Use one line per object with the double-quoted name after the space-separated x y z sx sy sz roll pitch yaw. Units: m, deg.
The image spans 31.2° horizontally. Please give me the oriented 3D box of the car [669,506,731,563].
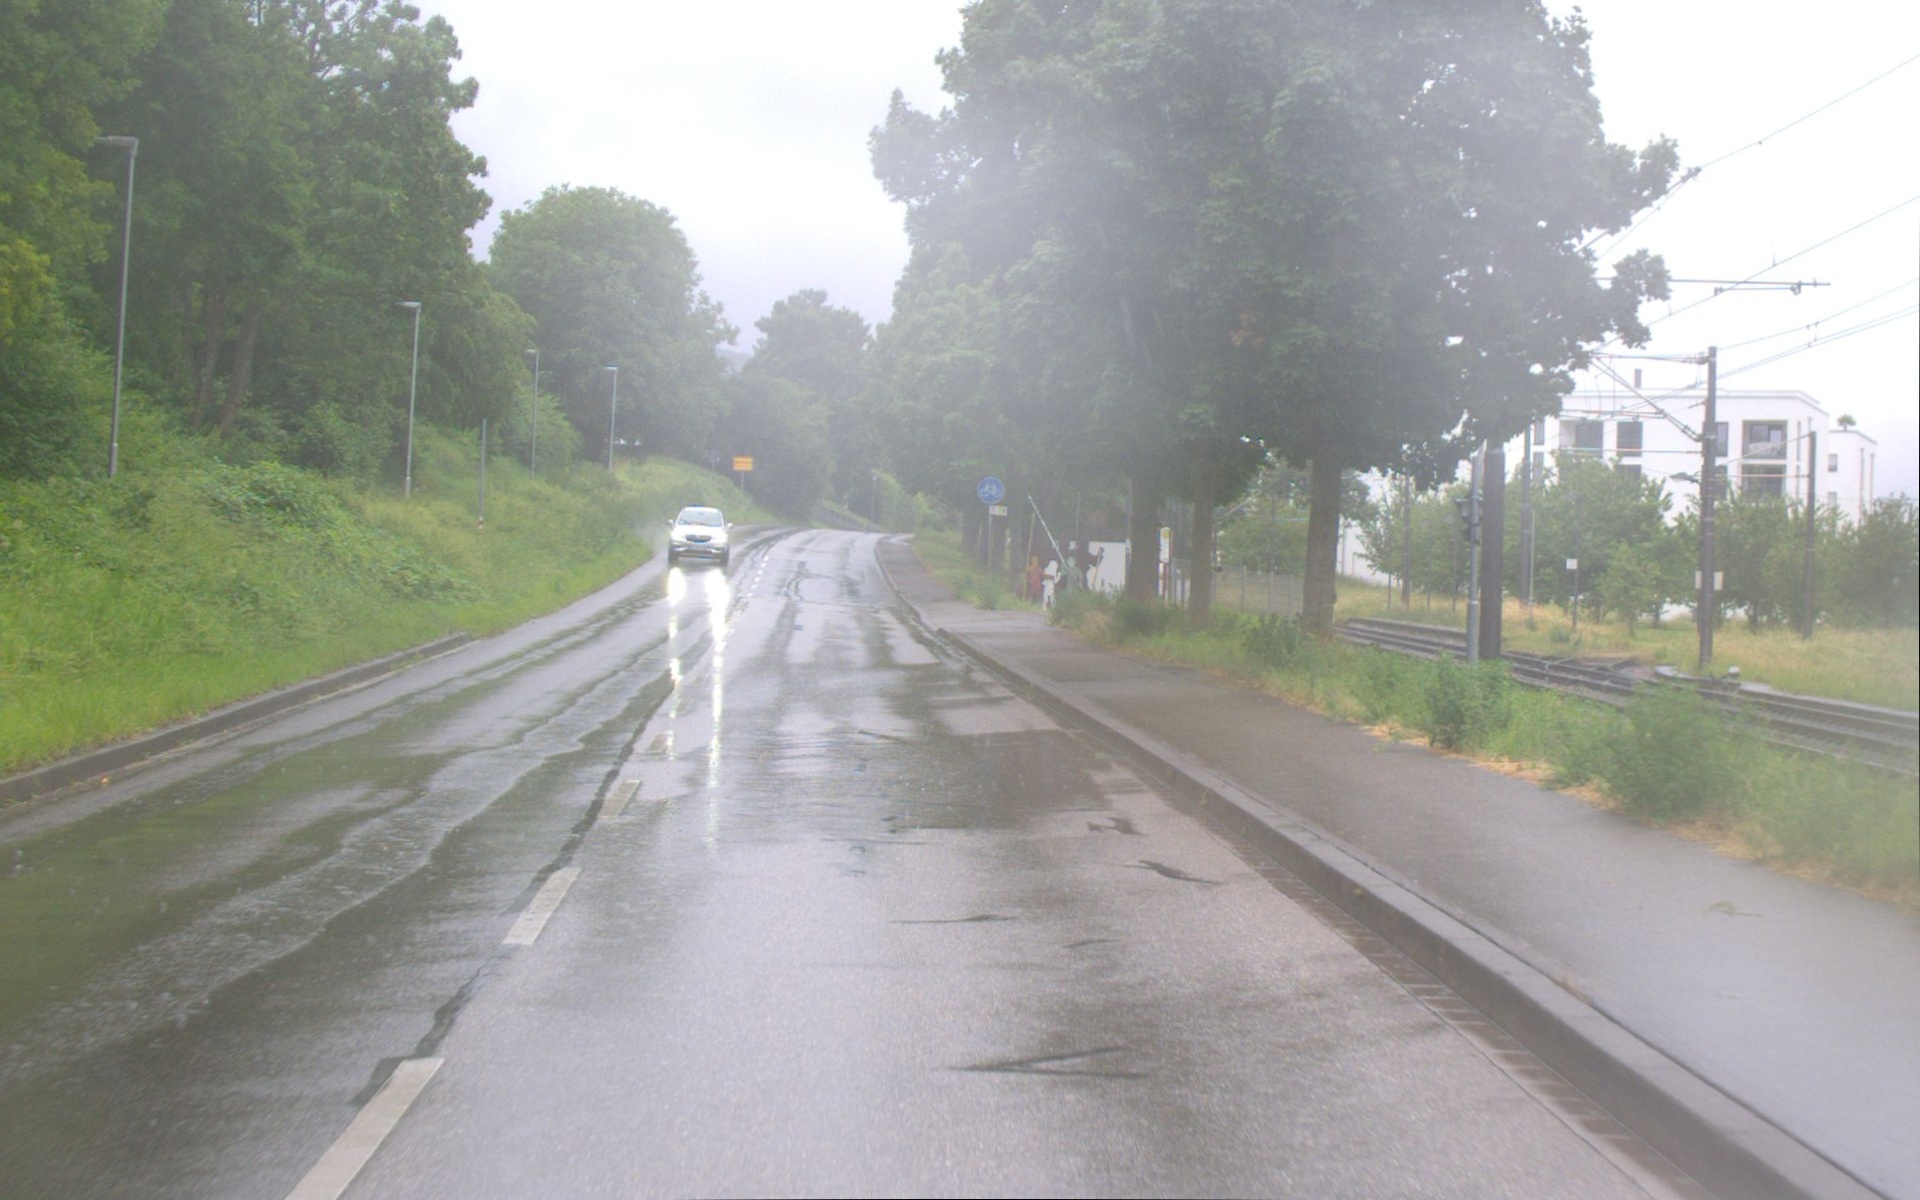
-7.885 -1.993 104.035 1.744 1.606 4.089 2 2 -6 "car"
